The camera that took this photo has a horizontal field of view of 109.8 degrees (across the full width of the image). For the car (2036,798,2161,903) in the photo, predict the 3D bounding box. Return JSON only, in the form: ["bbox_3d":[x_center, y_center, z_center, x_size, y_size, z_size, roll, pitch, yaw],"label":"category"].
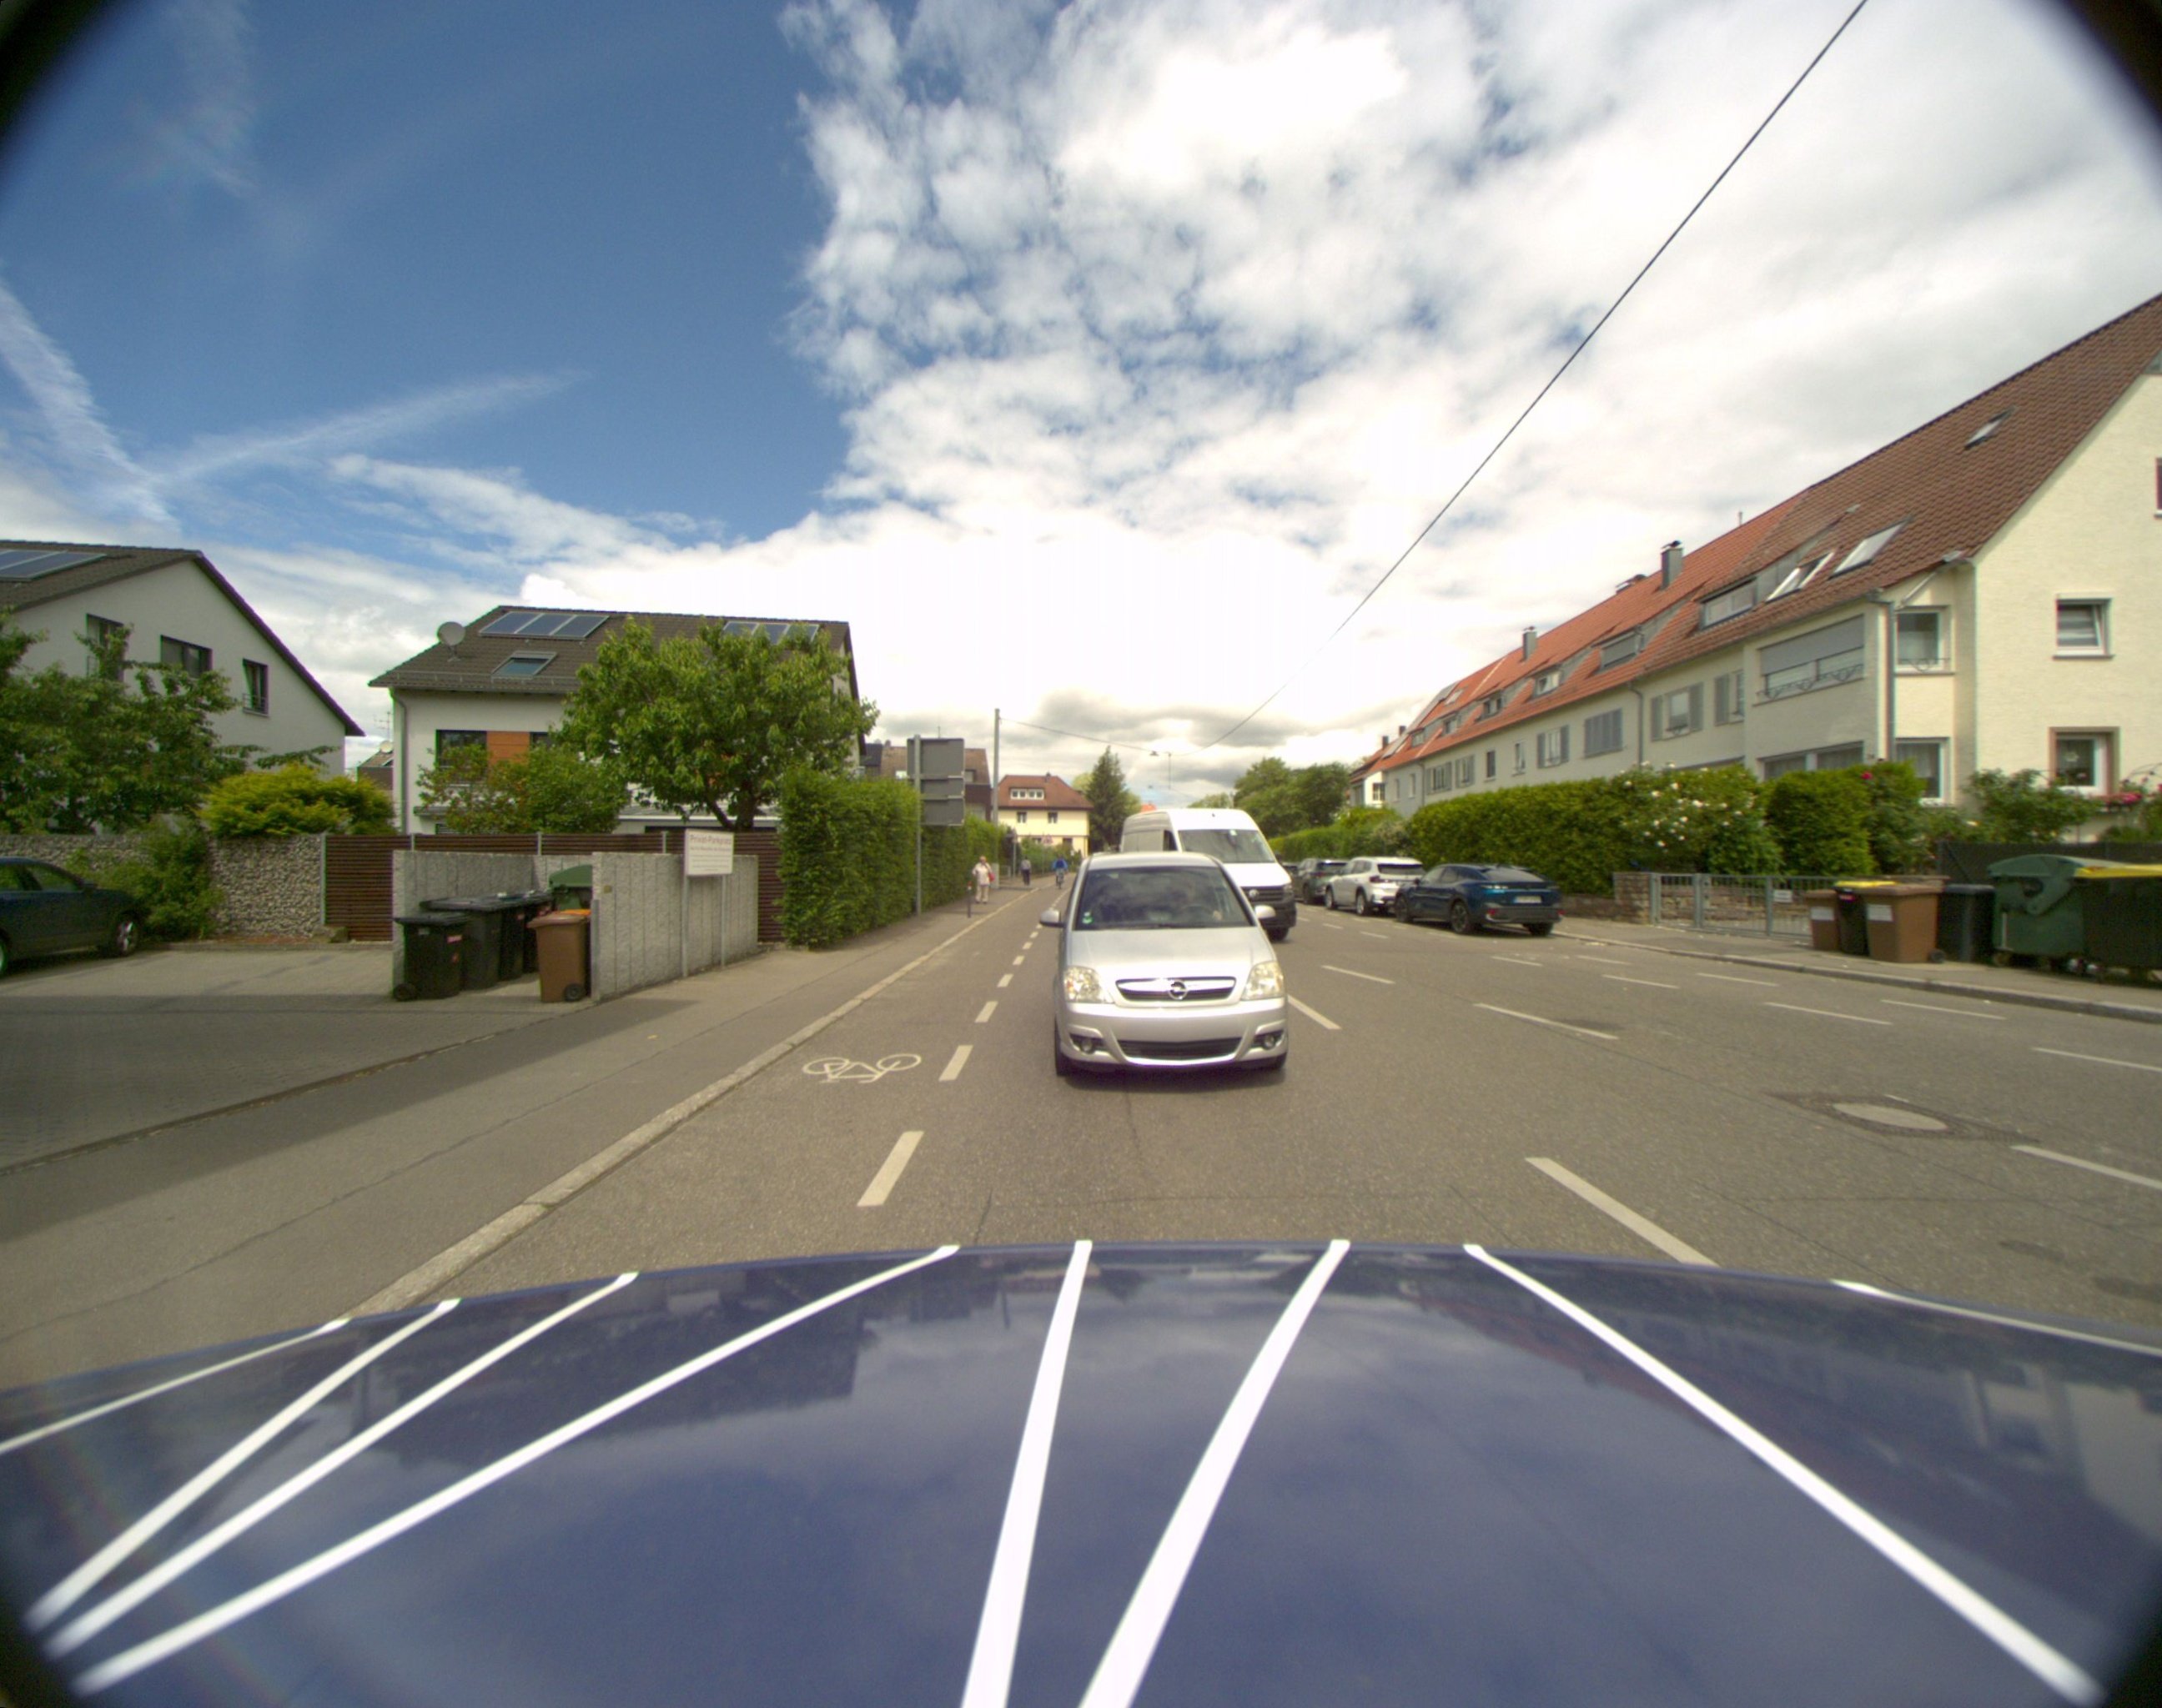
[{"bbox_3d":[19.436,-0.103,12.967,3.997,1.696,1.803,-1,0,0],"label":"car"}]

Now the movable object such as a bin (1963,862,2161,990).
[{"bbox_3d":[12.192,0.843,9.432,1.068,1.473,1.214,0,0,-1],"label":"movable object such as a bin"}]

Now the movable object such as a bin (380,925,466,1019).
[{"bbox_3d":[-7.081,1.255,8.198,0.494,0.907,0.539,-1,1,-16],"label":"movable object such as a bin"}]

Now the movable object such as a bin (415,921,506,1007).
[{"bbox_3d":[-7.138,1.254,8.764,0.635,0.887,0.539,-1,1,-16],"label":"movable object such as a bin"}]

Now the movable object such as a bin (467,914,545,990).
[{"bbox_3d":[-7.425,1.256,9.830,0.635,0.887,0.539,-1,1,-16],"label":"movable object such as a bin"}]

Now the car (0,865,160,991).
[{"bbox_3d":[-14.689,0.941,9.994,1.790,1.527,3.789,0,0,-25],"label":"car"}]

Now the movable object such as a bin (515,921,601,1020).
[{"bbox_3d":[-5.613,1.232,8.189,0.534,0.945,0.686,-1,0,-13],"label":"movable object such as a bin"}]

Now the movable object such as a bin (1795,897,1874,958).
[{"bbox_3d":[11.523,1.110,11.631,0.597,0.874,0.614,0,0,1],"label":"movable object such as a bin"}]

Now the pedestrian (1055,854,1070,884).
[{"bbox_3d":[-0.969,0.771,39.595,0.736,1.508,0.872,-1,1,1],"label":"pedestrian"}]

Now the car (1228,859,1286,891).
[{"bbox_3d":[8.867,1.004,38.610,1.782,1.483,4.565,0,0,-1],"label":"car"}]

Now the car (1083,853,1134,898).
[{"bbox_3d":[1.098,0.835,31.998,1.781,1.760,4.188,-1,0,-3],"label":"car"}]

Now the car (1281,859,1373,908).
[{"bbox_3d":[8.667,0.971,27.252,1.998,1.555,4.690,0,0,3],"label":"car"}]

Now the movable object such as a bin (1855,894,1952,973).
[{"bbox_3d":[11.141,1.064,10.311,0.597,1.001,0.658,0,0,1],"label":"movable object such as a bin"}]

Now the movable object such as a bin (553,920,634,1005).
[{"bbox_3d":[-5.718,1.260,8.950,0.533,0.887,0.679,-1,0,-5],"label":"movable object such as a bin"}]

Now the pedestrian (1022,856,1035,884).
[{"bbox_3d":[-3.016,0.912,43.980,0.604,1.596,0.836,2,1,2],"label":"pedestrian"}]

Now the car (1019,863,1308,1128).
[{"bbox_3d":[0.656,0.898,6.775,1.707,1.531,4.332,-2,0,4],"label":"car"}]

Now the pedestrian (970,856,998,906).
[{"bbox_3d":[-3.236,0.887,25.362,0.800,1.608,0.653,1,1,2],"label":"pedestrian"}]

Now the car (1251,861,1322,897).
[{"bbox_3d":[8.758,1.022,32.748,1.998,1.400,4.690,0,0,3],"label":"car"}]

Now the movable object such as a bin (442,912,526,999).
[{"bbox_3d":[-7.289,1.219,9.296,0.629,0.962,0.539,-1,1,-16],"label":"movable object such as a bin"}]

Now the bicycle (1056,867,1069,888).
[{"bbox_3d":[-0.970,1.199,39.706,0.536,1.039,2.409,-1,0,2],"label":"bicycle"}]

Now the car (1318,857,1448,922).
[{"bbox_3d":[8.474,0.928,21.813,1.998,1.641,4.517,0,0,1],"label":"car"}]

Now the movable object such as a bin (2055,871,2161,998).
[{"bbox_3d":[11.821,0.851,8.189,1.067,1.305,1.214,0,0,2],"label":"movable object such as a bin"}]

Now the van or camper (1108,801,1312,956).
[{"bbox_3d":[2.327,0.469,15.801,2.032,2.564,5.917,-1,-1,-13],"label":"van or camper"}]

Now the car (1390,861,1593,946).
[{"bbox_3d":[8.729,0.961,16.707,1.999,1.578,4.488,0,0,-1],"label":"car"}]

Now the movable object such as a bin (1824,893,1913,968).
[{"bbox_3d":[11.364,1.087,10.977,0.597,1.018,0.658,0,0,1],"label":"movable object such as a bin"}]
